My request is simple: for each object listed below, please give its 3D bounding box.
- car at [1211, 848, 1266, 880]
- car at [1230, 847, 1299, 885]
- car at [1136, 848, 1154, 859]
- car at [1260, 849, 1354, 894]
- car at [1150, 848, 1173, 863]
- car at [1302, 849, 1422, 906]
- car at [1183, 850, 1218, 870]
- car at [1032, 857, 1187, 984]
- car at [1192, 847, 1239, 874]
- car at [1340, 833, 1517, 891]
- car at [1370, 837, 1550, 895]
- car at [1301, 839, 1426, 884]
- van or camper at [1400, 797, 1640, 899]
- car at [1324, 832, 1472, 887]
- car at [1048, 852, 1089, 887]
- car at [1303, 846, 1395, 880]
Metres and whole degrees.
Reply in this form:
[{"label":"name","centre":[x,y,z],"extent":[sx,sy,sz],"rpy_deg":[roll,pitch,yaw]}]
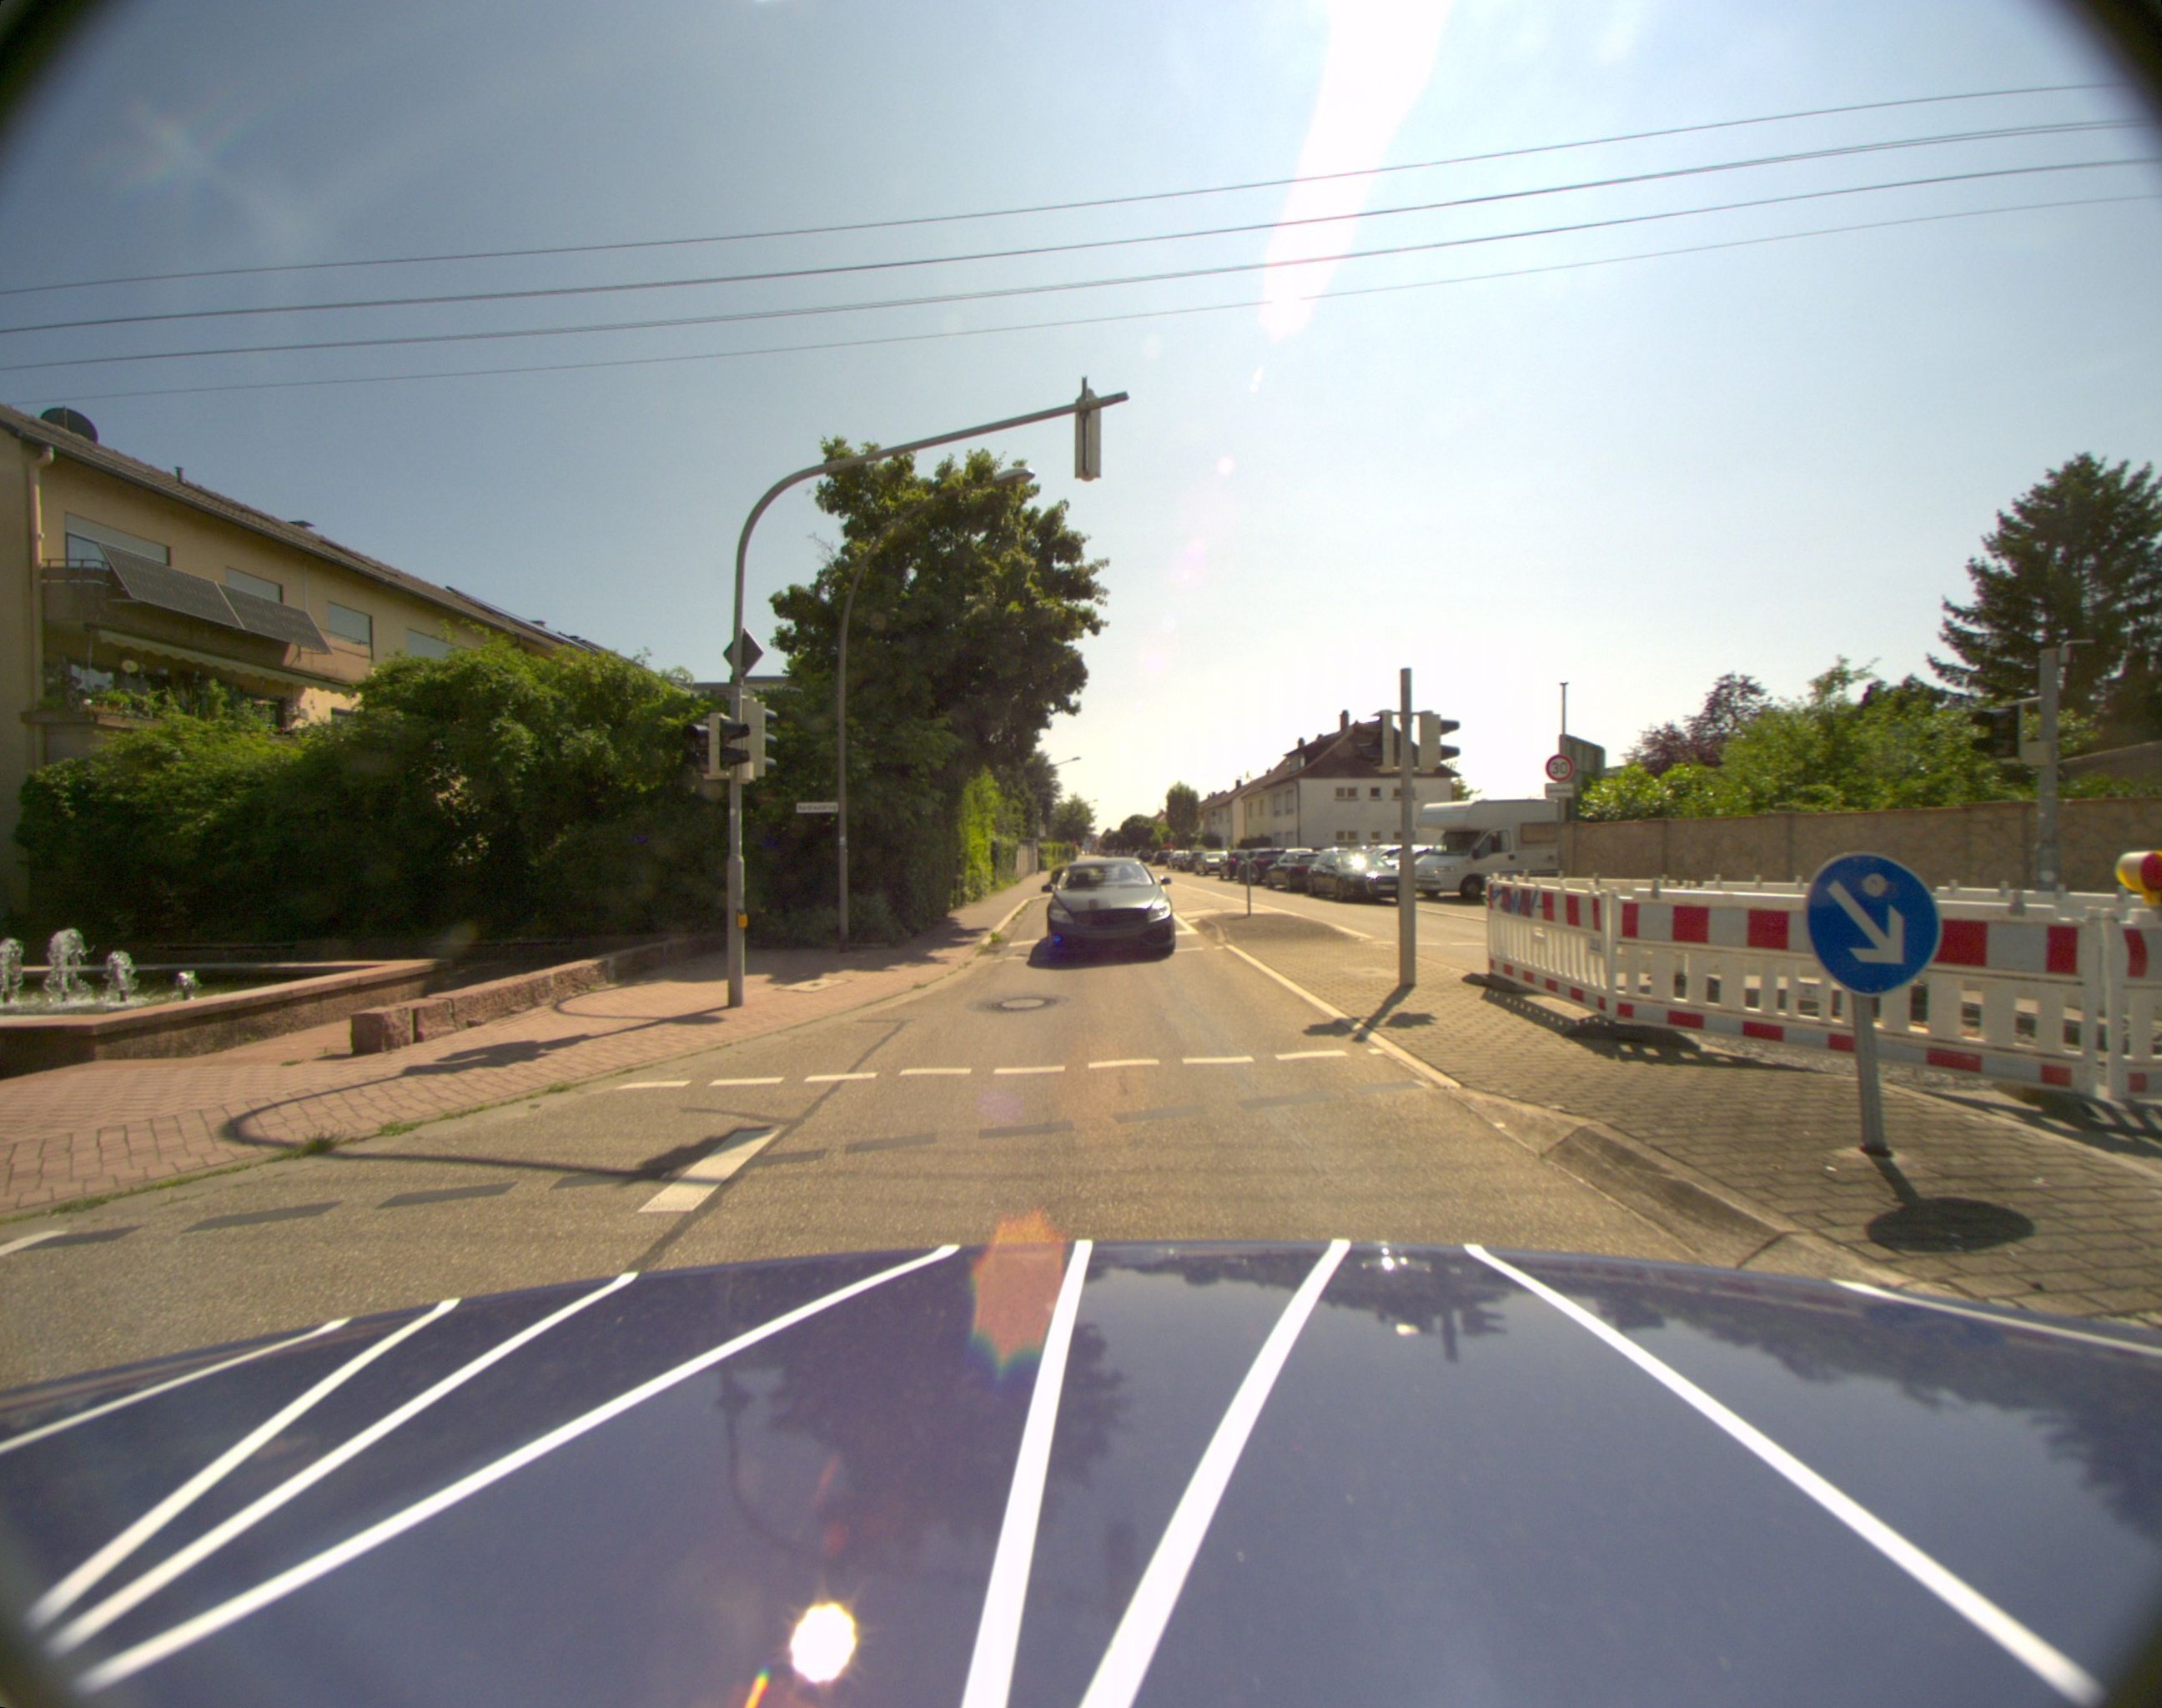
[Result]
[{"label":"car","centre":[8.083,0.460,39.257],"extent":[1.863,1.538,4.176],"rpy_deg":[1,1,-1]},{"label":"car","centre":[8.139,0.494,34.011],"extent":[1.863,1.581,4.227],"rpy_deg":[1,1,-3]},{"label":"car","centre":[8.058,-0.065,95.555],"extent":[1.739,1.409,3.915],"rpy_deg":[-1,1,-3]},{"label":"car","centre":[8.220,0.578,28.127],"extent":[1.953,1.491,4.507],"rpy_deg":[1,1,-3]},{"label":"car","centre":[8.042,0.117,75.963],"extent":[1.739,1.504,3.915],"rpy_deg":[-1,1,-3]},{"label":"car","centre":[8.227,0.621,22.710],"extent":[1.952,1.491,4.508],"rpy_deg":[1,1,1]},{"label":"car","centre":[8.456,0.402,54.094],"extent":[1.739,1.310,3.915],"rpy_deg":[1,1,-3]},{"label":"car","centre":[0.362,0.865,12.197],"extent":[1.889,1.429,4.837],"rpy_deg":[-4,1,0]},{"label":"car","centre":[8.206,0.368,46.657],"extent":[1.863,1.538,4.544],"rpy_deg":[1,1,-3]},{"label":"car","centre":[12.942,0.268,28.423],"extent":[5.782,1.990,2.130],"rpy_deg":[-1,1,-8]},{"label":"car","centre":[12.531,0.357,25.266],"extent":[5.116,1.758,2.130],"rpy_deg":[-1,1,-10]},{"label":"car","centre":[12.380,0.307,33.421],"extent":[4.777,1.853,1.999],"rpy_deg":[-1,1,-6]},{"label":"van or camper","centre":[13.146,-0.218,22.926],"extent":[6.263,2.828,2.288],"rpy_deg":[-1,1,-10]},{"label":"car","centre":[12.846,0.210,30.968],"extent":[5.180,2.076,2.211],"rpy_deg":[-1,1,-8]},{"label":"car","centre":[-0.696,0.715,37.761],"extent":[1.872,1.586,4.614],"rpy_deg":[-1,1,-3]},{"label":"car","centre":[13.437,0.417,38.156],"extent":[3.999,1.607,1.767],"rpy_deg":[-1,1,-7]}]
